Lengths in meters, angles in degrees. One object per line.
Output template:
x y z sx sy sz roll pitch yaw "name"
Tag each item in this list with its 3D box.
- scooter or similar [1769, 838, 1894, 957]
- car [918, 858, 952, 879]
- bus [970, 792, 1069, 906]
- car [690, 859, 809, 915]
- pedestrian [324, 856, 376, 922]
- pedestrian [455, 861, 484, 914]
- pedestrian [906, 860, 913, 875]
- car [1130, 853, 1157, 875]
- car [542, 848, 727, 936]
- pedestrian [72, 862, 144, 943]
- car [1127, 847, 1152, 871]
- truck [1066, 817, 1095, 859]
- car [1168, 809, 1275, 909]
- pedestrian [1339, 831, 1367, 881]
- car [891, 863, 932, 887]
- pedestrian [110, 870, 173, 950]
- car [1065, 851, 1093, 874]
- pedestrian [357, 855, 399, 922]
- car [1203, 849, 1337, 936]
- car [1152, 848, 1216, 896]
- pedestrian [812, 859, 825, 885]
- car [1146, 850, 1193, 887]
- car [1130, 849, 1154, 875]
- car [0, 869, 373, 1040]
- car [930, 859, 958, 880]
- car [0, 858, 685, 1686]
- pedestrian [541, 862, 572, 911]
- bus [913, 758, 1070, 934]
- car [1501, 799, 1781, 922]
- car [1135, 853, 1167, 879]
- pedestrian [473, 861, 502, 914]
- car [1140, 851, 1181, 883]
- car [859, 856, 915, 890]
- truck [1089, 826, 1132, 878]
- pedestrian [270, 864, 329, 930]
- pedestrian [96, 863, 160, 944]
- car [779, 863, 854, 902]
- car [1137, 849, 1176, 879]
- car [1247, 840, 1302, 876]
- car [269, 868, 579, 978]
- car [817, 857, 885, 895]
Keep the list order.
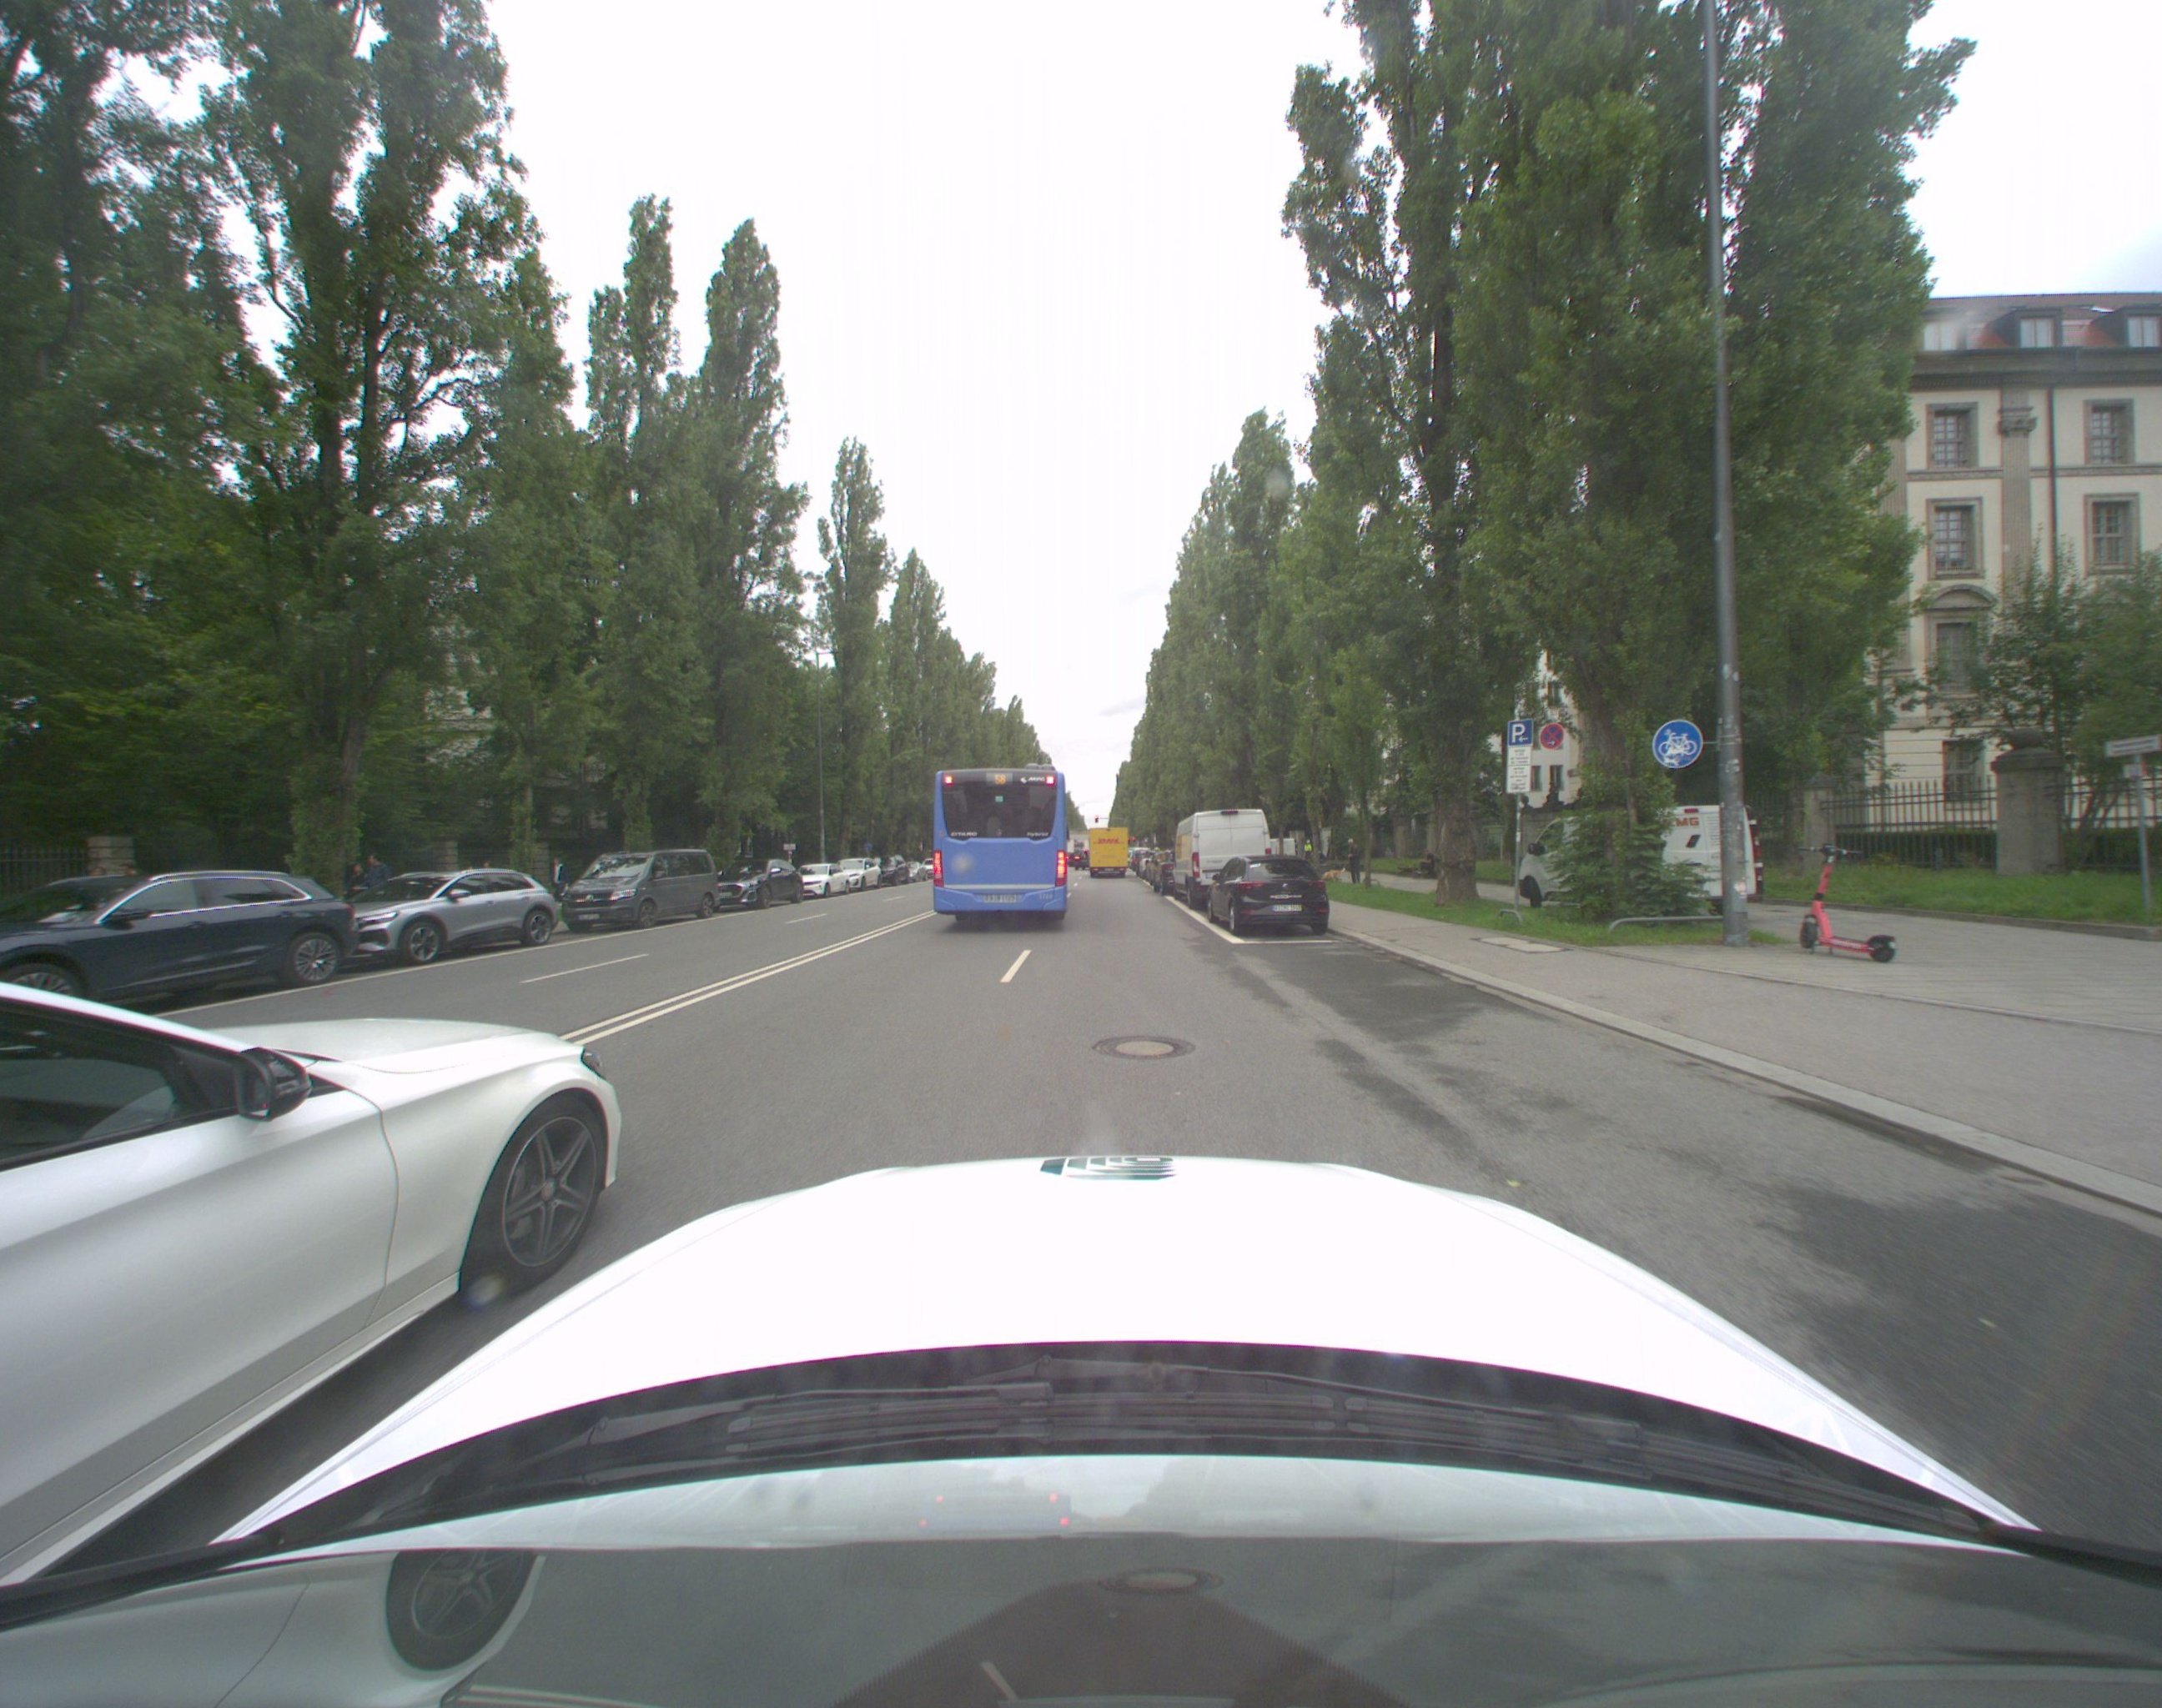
8.513 0.461 9.289 0.335 1.265 1.186 -1 0 2 "scooter or similar"
-10.718 1.039 59.925 1.679 1.413 4.004 -3 0 0 "car"
-1.875 -0.146 28.836 2.863 3.304 9.785 -1 0 -1 "bus"
-11.132 1.024 27.778 1.809 1.609 5.054 -4 0 1 "car"
-20.775 0.983 23.155 0.744 1.854 0.757 -1 0 2 "pedestrian"
-20.136 1.089 26.826 0.506 1.707 0.570 -1 0 2 "pedestrian"
-19.095 1.494 90.556 0.597 1.739 0.640 -2 0 1 "pedestrian"
4.650 0.721 61.150 1.856 1.552 4.002 -1 0 2 "car"
-11.545 0.879 21.551 1.986 1.956 4.938 -3 0 1 "car"
-21.401 1.055 17.923 0.664 1.722 0.733 -1 0 2 "pedestrian"
5.320 0.443 74.894 2.045 2.013 5.695 -2 0 2 "car"
-0.067 -1.516 82.788 2.708 3.965 9.214 -1 0 -1 "truck"
3.816 0.126 23.292 2.067 2.479 6.285 0 0 1 "car"
10.301 0.079 30.826 0.654 1.839 0.782 -1 0 -13 "pedestrian"
-10.645 1.276 51.333 1.574 1.304 4.030 -3 0 2 "car"
-20.226 1.200 17.545 0.547 1.669 0.673 -1 0 2 "pedestrian"
-0.132 0.641 66.986 2.028 1.801 4.509 -2 0 2 "car"
-19.888 0.949 23.045 0.506 1.859 0.723 -1 0 2 "pedestrian"
3.547 0.657 15.968 1.748 1.450 4.001 1 0 1 "car"
3.650 0.605 29.447 1.814 1.590 4.223 -1 0 1 "car"
-18.625 1.301 57.819 0.637 1.815 0.775 -1 0 1 "pedestrian"
3.805 0.609 35.601 1.645 1.503 4.114 0 0 1 "car"
4.964 0.630 66.662 1.799 1.976 4.238 -1 0 2 "car"
-11.608 1.089 9.915 1.776 1.596 4.614 -3 0 1 "car"
-10.828 1.179 64.482 1.740 1.519 4.112 -3 0 -4 "car"
-2.817 0.745 1.463 1.818 1.454 4.585 0 0 2 "car"
-19.240 1.191 29.866 0.606 1.757 0.757 -1 0 0 "pedestrian"
-1.725 -0.162 19.554 2.847 3.213 9.055 -1 0 -1 "bus"
10.315 0.112 15.650 1.986 1.946 5.085 -1 0 2 "car"
4.270 0.687 50.031 1.719 1.495 4.326 -1 0 2 "car"
-19.495 1.079 26.777 0.506 1.707 0.570 -1 0 2 "pedestrian"
3.827 0.600 39.859 1.627 1.446 4.149 1 0 1 "car"
-10.766 1.018 45.501 1.874 1.658 4.717 -4 0 0 "car"
1.694 -0.108 49.003 2.319 2.898 7.333 -1 0 1 "truck"
-19.832 1.072 20.686 0.706 1.618 0.791 -1 0 1 "pedestrian"
-20.783 1.061 17.773 0.506 1.707 0.723 -1 0 2 "pedestrian"
-11.133 1.147 34.546 1.670 1.422 4.238 -3 0 1 "car"
4.060 0.522 44.349 1.774 1.581 4.147 1 0 1 "car"
11.163 0.223 47.431 1.987 1.925 5.324 -1 0 0 "car"
-11.821 1.125 15.202 1.884 1.584 4.655 -2 0 1 "car"
-11.081 1.019 39.605 1.778 1.588 4.463 -4 0 2 "car"
